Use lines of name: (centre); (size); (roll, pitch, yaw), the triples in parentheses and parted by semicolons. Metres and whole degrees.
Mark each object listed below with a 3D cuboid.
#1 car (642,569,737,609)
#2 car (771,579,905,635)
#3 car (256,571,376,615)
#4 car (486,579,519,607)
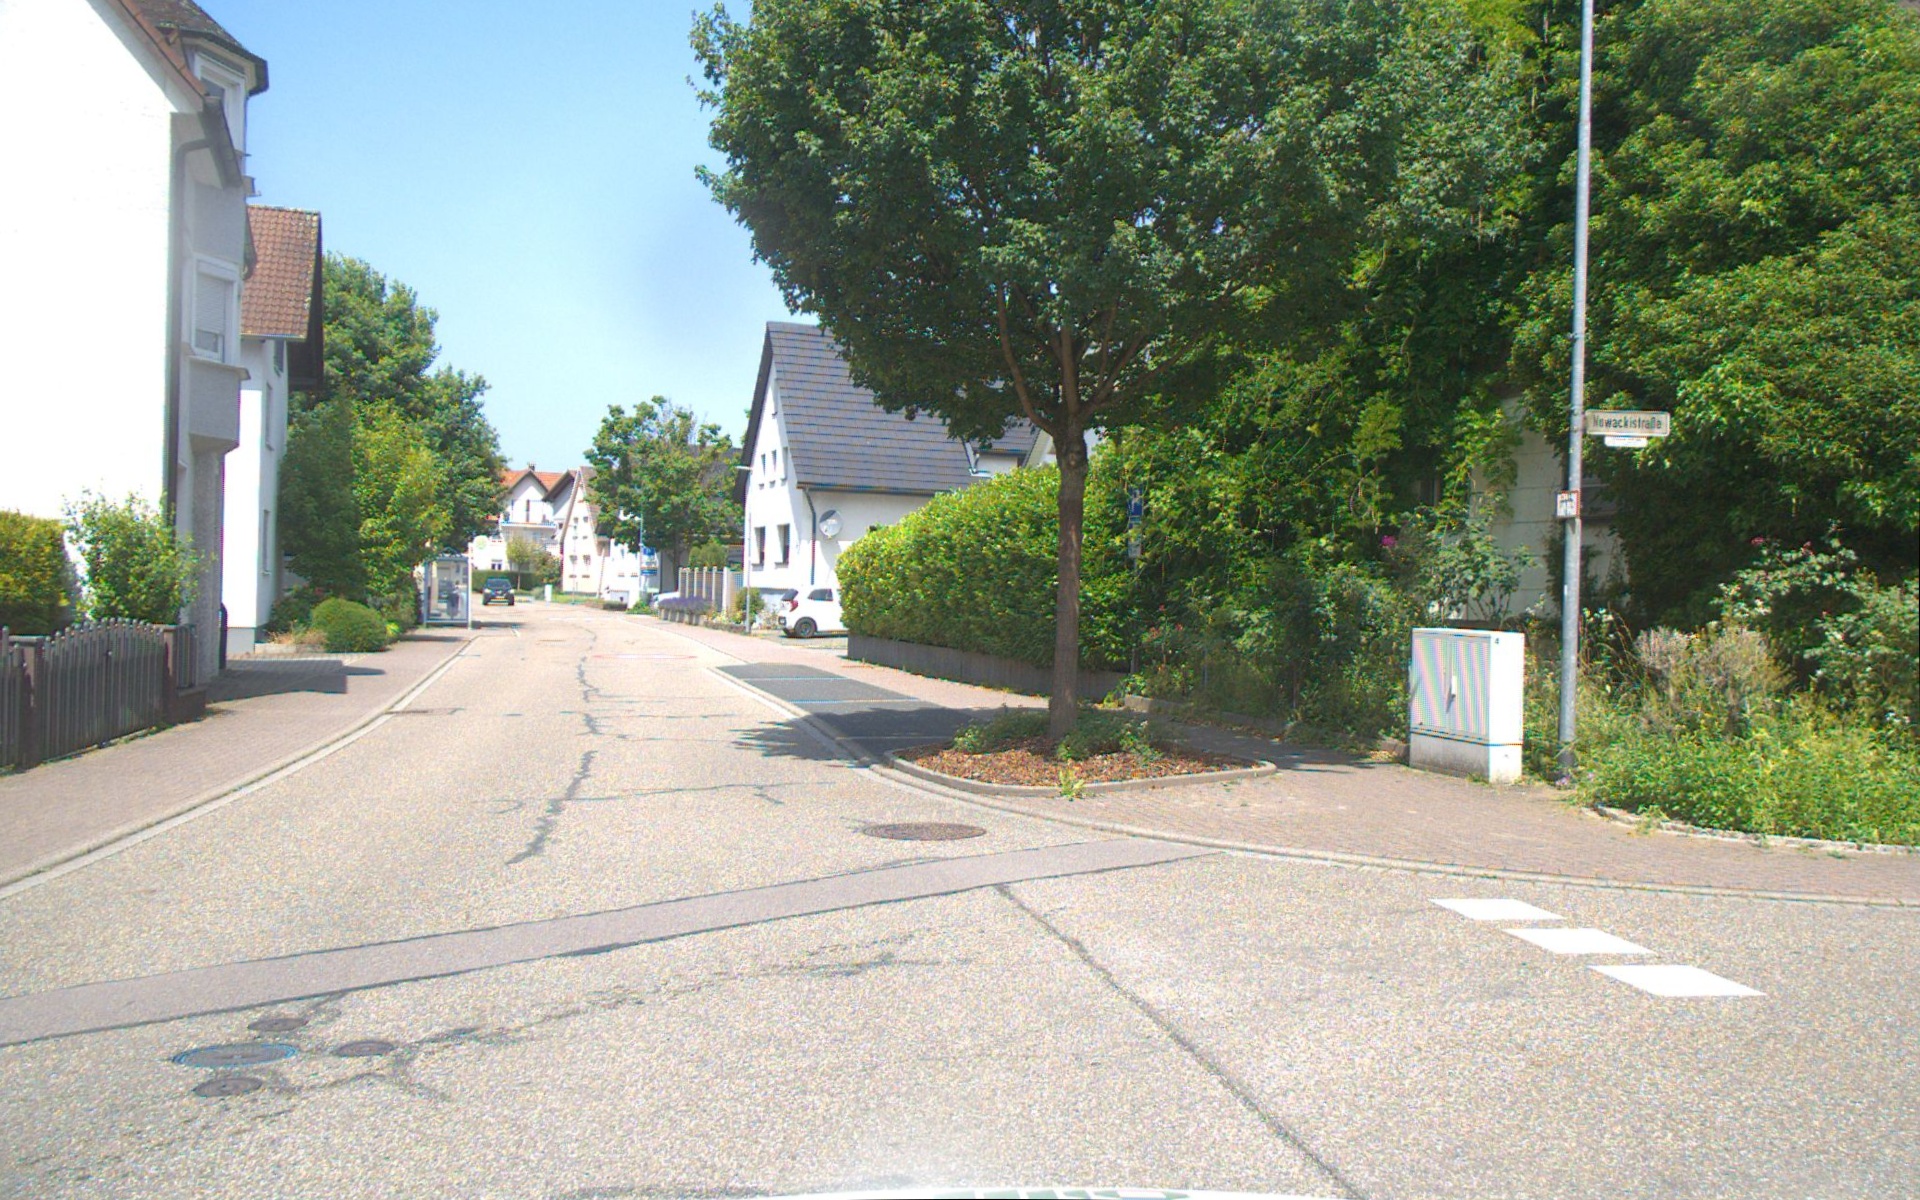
car: (-12.793, -0.535, 78.115); (4.246, 1.797, 1.884); (-1, 3, -16)
car: (-3.576, 0.180, 48.409); (3.606, 1.500, 1.754); (-1, 2, -22)
car: (-24.220, -0.296, 62.359); (4.097, 1.565, 1.764); (-1, 2, -19)
car: (-28.365, -0.442, 102.669); (1.745, 1.651, 4.092); (0, 1, -12)
